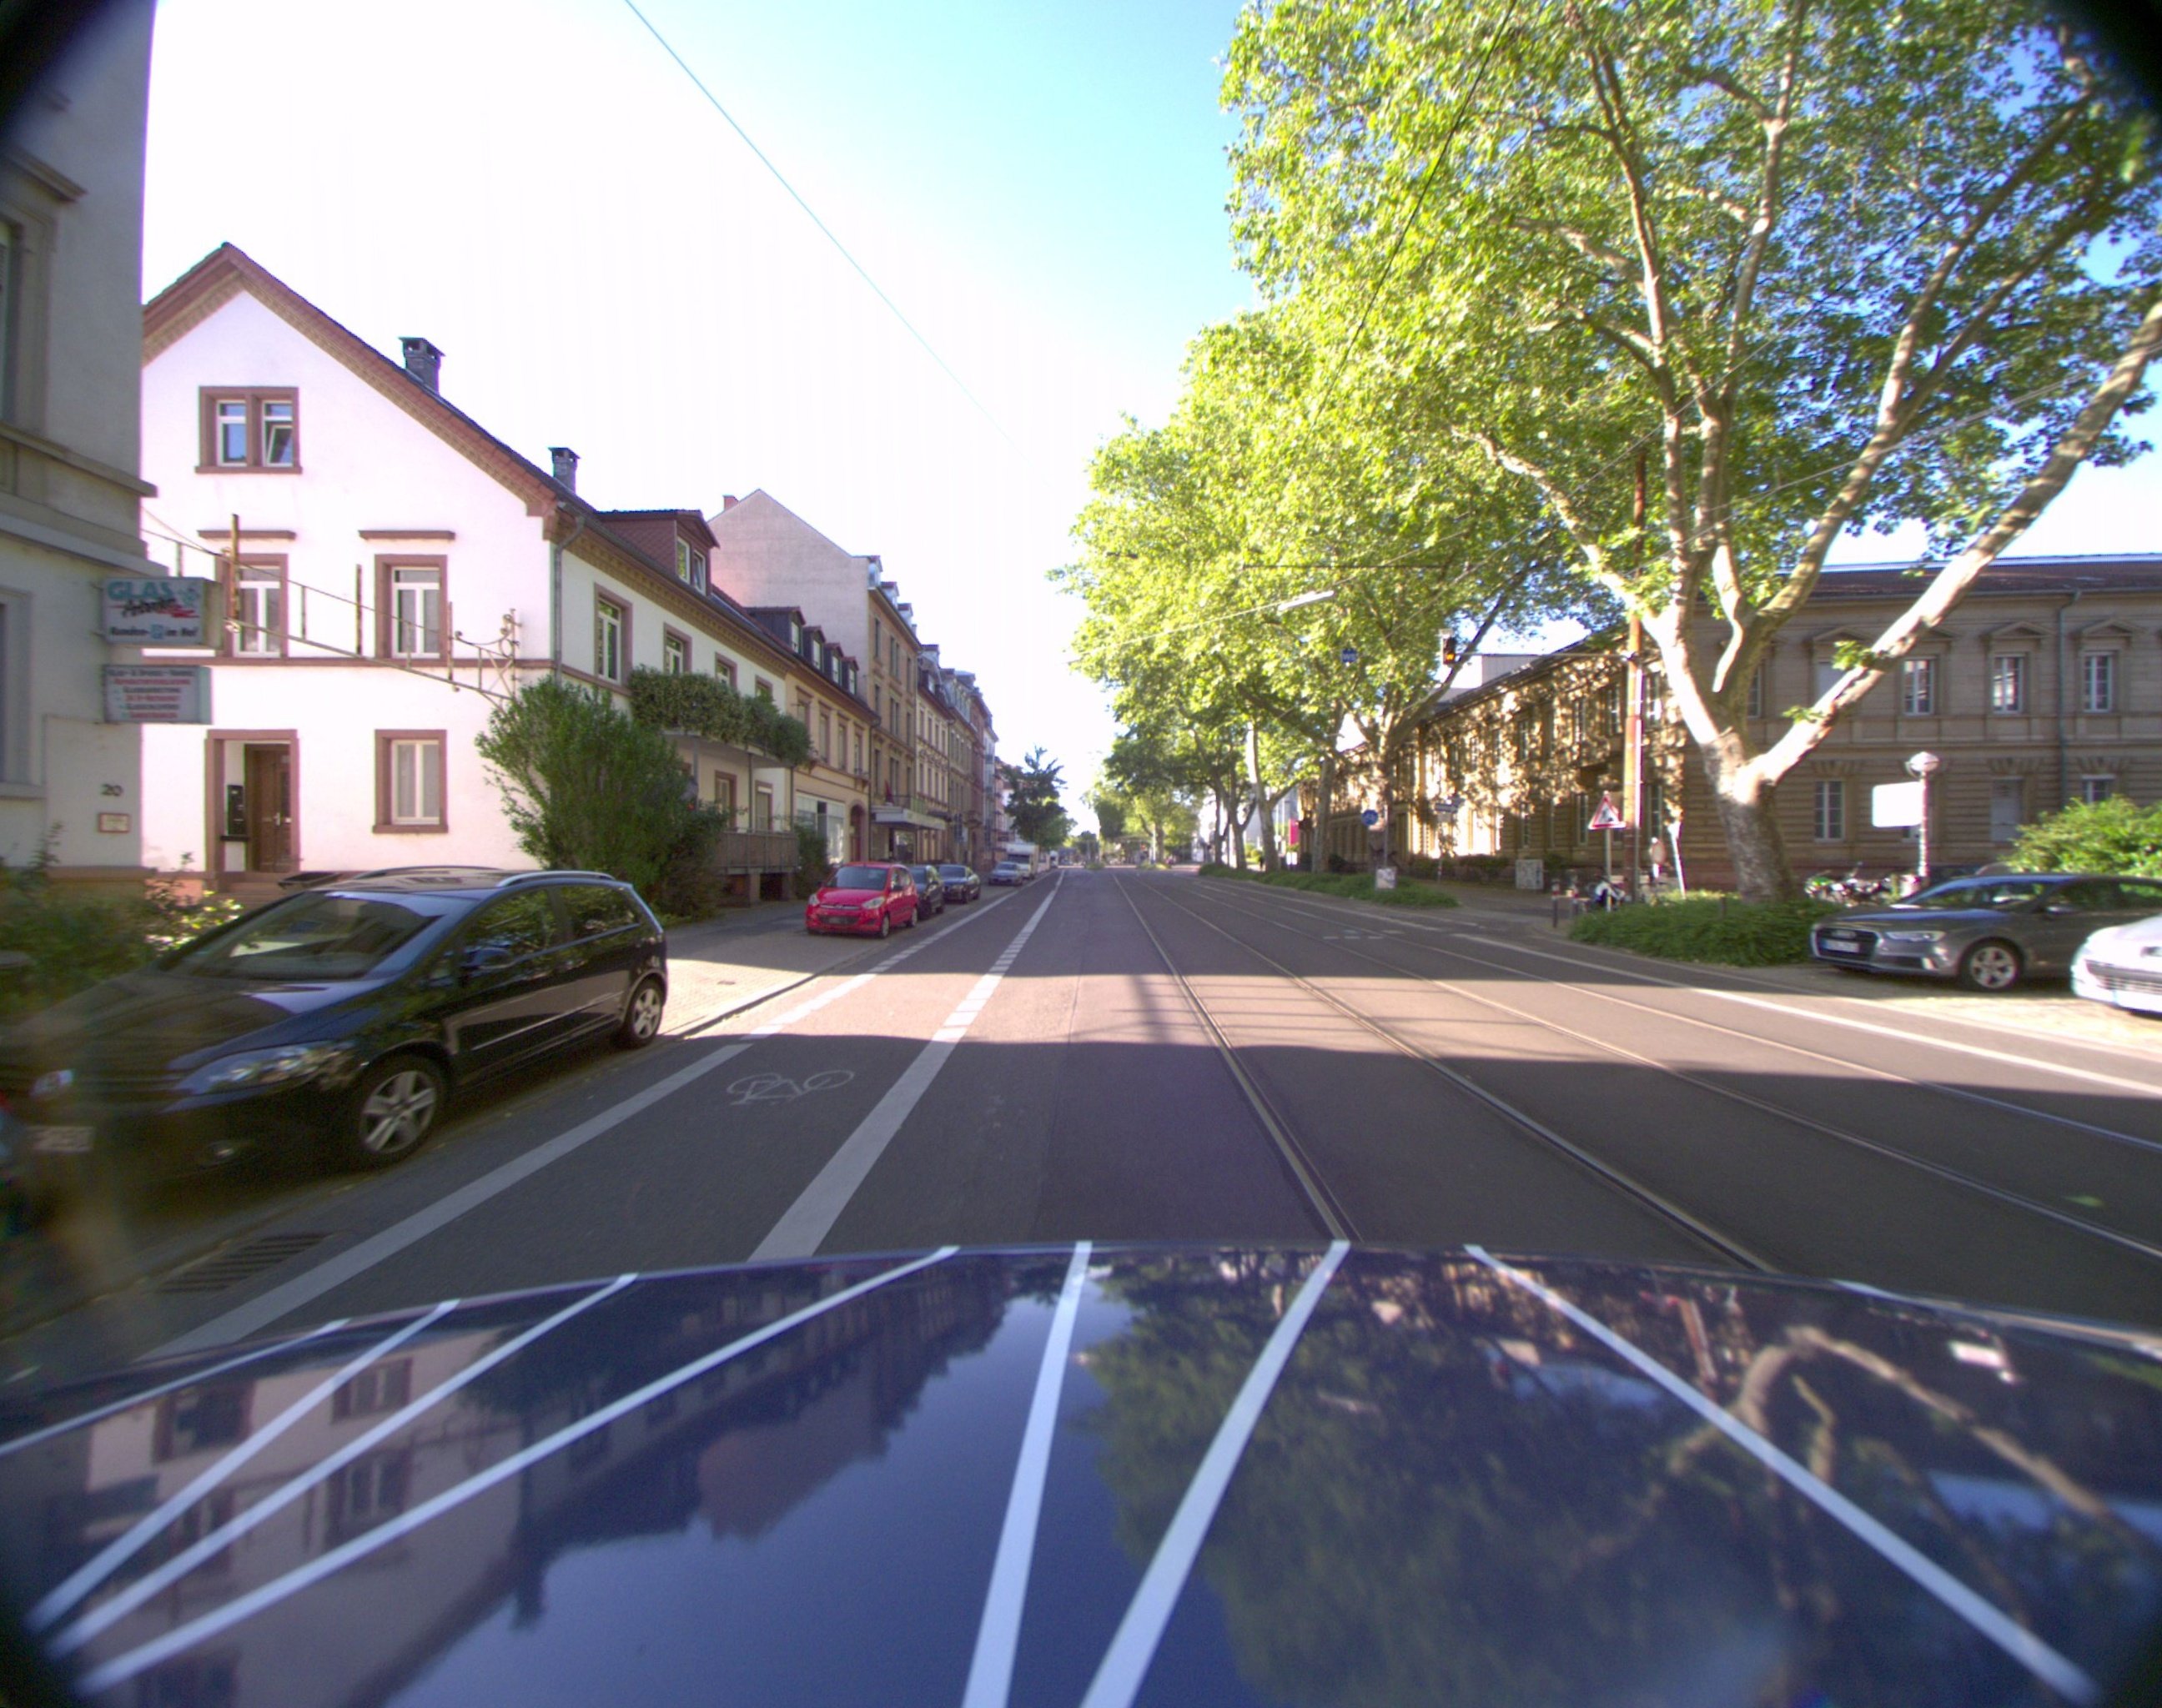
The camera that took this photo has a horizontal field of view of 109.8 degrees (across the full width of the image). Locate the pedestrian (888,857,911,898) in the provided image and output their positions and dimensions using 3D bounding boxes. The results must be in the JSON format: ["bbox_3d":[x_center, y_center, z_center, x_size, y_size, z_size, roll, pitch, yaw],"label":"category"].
[{"bbox_3d":[-6.880,0.871,28.771,0.662,1.496,0.866,1,1,0],"label":"pedestrian"}]

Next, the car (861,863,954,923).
[{"bbox_3d":[-4.746,1.027,21.287,1.655,1.448,3.868,1,0,1],"label":"car"}]

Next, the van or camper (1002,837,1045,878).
[{"bbox_3d":[-4.598,0.260,61.919,2.483,2.954,7.884,3,0,2],"label":"van or camper"}]

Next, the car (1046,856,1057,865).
[{"bbox_3d":[-4.837,1.121,125.845,1.656,1.439,3.800,1,0,-1],"label":"car"}]

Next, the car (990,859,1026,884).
[{"bbox_3d":[-4.510,1.065,47.500,1.814,1.426,4.664,1,0,0],"label":"car"}]

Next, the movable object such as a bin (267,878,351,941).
[{"bbox_3d":[-14.239,1.012,14.032,0.630,1.022,0.793,-1,6,-1],"label":"movable object such as a bin"}]

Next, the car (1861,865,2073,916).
[{"bbox_3d":[26.710,1.088,23.046,3.927,1.324,1.849,-2,1,9],"label":"car"}]

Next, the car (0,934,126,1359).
[{"bbox_3d":[-4.672,1.019,1.094,1.803,1.448,3.768,3,0,0],"label":"car"}]

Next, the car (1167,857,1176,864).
[{"bbox_3d":[20.425,1.502,171.349,1.870,1.620,4.562,0,-1,5],"label":"car"}]

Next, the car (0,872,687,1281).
[{"bbox_3d":[-4.699,1.013,5.245,1.885,1.576,3.932,3,0,-1],"label":"car"}]

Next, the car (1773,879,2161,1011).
[{"bbox_3d":[11.570,1.075,9.606,3.929,1.324,1.847,-2,0,1],"label":"car"}]

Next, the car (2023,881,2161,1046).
[{"bbox_3d":[11.779,1.003,7.012,3.931,1.444,1.800,0,0,0],"label":"car"}]

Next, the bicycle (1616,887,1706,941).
[{"bbox_3d":[11.723,1.188,15.442,0.542,0.935,2.035,-1,0,8],"label":"bicycle"}]

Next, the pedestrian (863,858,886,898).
[{"bbox_3d":[-7.812,0.897,28.787,0.659,1.474,0.785,-1,1,0],"label":"pedestrian"}]

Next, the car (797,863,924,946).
[{"bbox_3d":[-4.693,1.006,16.657,1.638,1.537,3.576,1,0,2],"label":"car"}]

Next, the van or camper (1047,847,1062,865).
[{"bbox_3d":[-4.717,0.333,136.058,2.173,3.074,7.290,1,0,0],"label":"van or camper"}]

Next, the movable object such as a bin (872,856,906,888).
[{"bbox_3d":[-9.372,0.881,37.124,1.296,1.511,1.286,-1,0,0],"label":"movable object such as a bin"}]

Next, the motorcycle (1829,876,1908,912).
[{"bbox_3d":[24.129,1.195,23.327,0.721,0.971,1.957,-2,0,13],"label":"motorcycle"}]

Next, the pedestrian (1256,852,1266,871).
[{"bbox_3d":[18.056,0.725,76.228,0.721,1.838,0.837,-1,1,-1],"label":"pedestrian"}]

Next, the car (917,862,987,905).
[{"bbox_3d":[-4.700,1.045,28.313,1.698,1.384,4.495,1,0,2],"label":"car"}]

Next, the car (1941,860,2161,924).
[{"bbox_3d":[23.018,0.889,17.782,3.785,1.409,1.695,0,-3,1],"label":"car"}]

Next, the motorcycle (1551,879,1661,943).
[{"bbox_3d":[10.628,1.114,15.510,0.886,1.140,2.392,-1,0,8],"label":"motorcycle"}]

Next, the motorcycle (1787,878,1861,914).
[{"bbox_3d":[22.899,1.275,23.466,0.721,0.971,1.957,-2,0,13],"label":"motorcycle"}]
